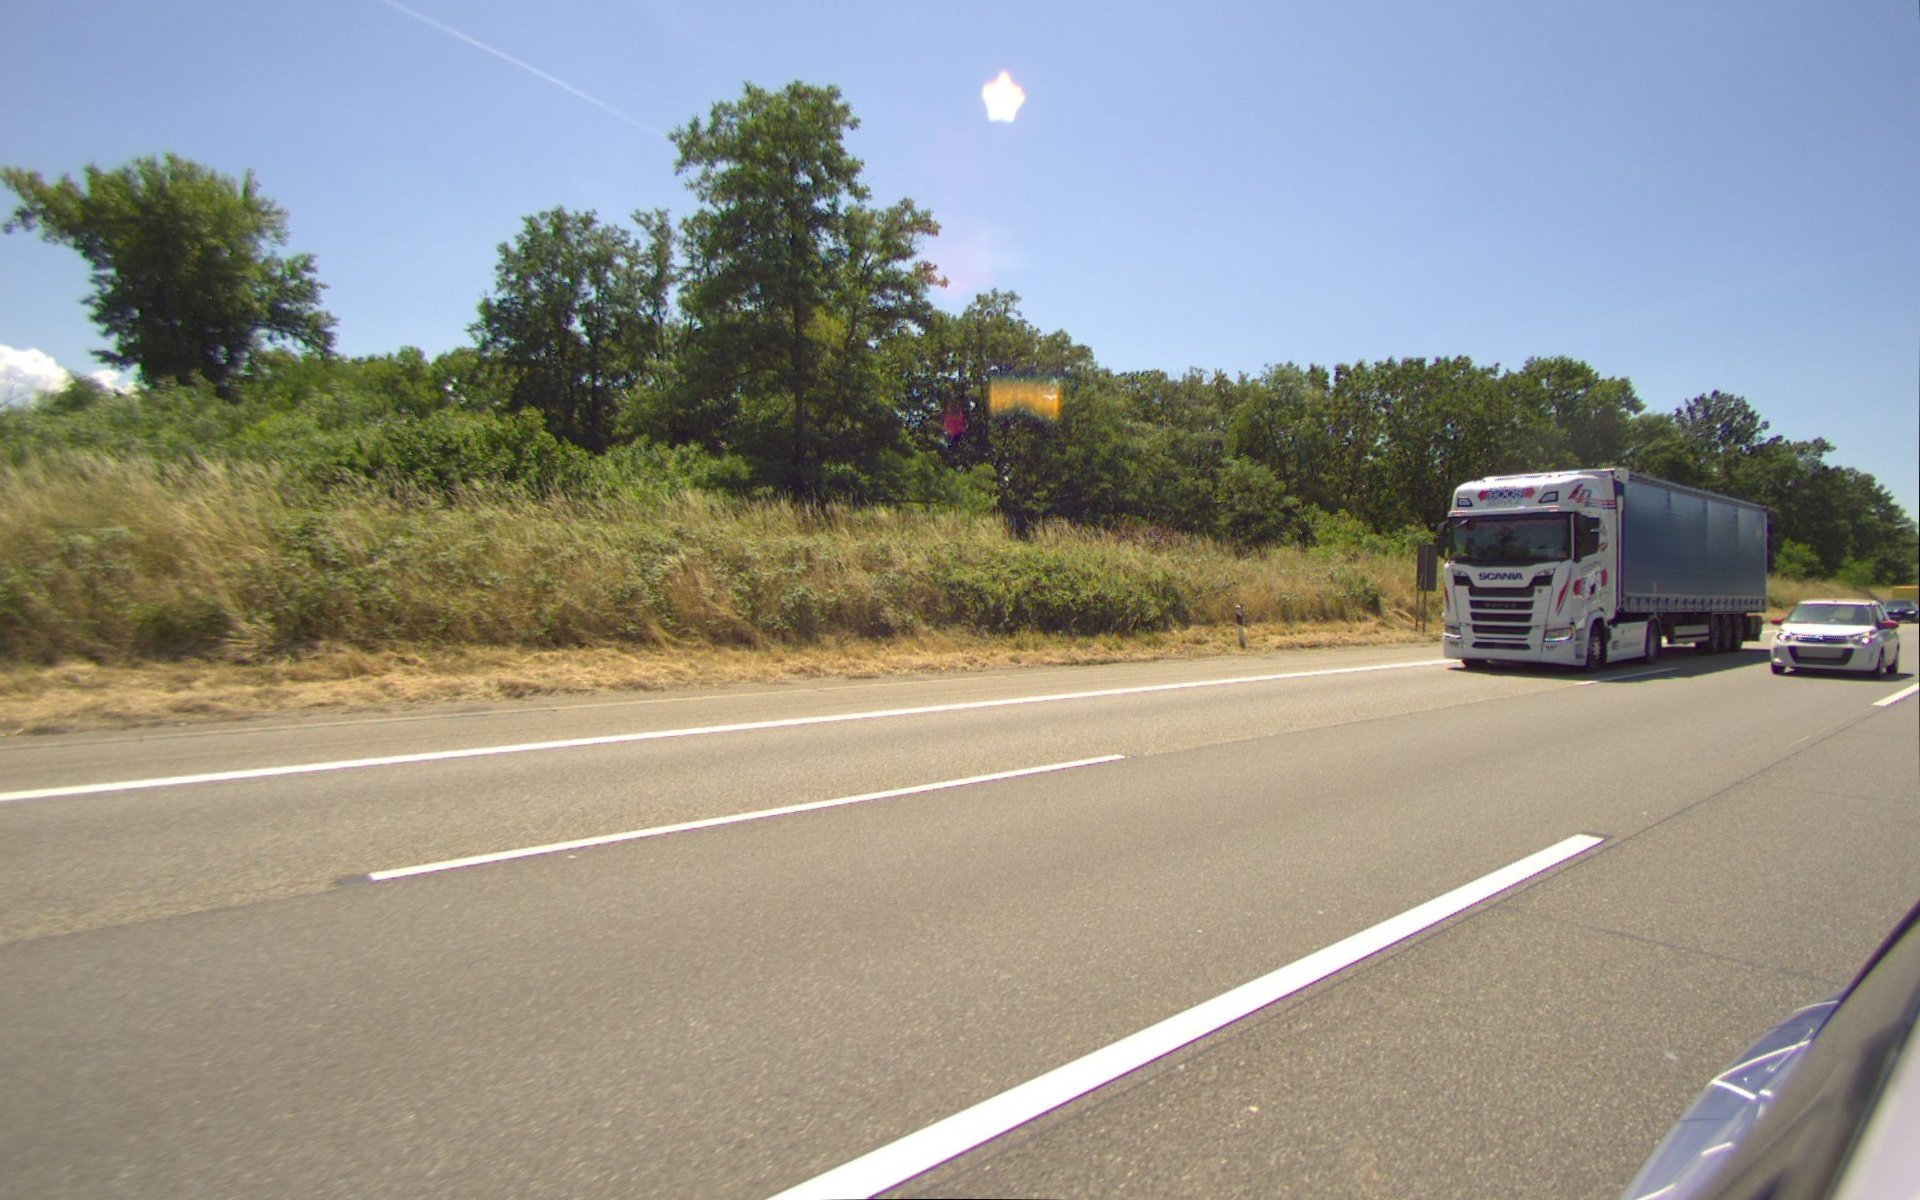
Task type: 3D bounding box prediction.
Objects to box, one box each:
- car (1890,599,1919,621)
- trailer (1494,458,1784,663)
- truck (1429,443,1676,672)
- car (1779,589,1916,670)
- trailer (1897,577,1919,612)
[{"bbox_3d":[58.710,0.624,62.286,3.294,1.298,1.844,-1,0,-41],"label":"car"},{"bbox_3d":[17.641,-0.848,25.534,13.835,4.053,2.601,-1,0,-41],"label":"trailer"},{"bbox_3d":[12.346,-0.789,20.884,6.066,4.053,2.601,0,0,-41],"label":"truck"},{"bbox_3d":[17.256,0.507,19.640,3.294,1.438,1.580,-1,0,-41],"label":"car"},{"bbox_3d":[61.132,-0.359,64.419,3.141,2.236,1.847,0,0,-41],"label":"trailer"}]
